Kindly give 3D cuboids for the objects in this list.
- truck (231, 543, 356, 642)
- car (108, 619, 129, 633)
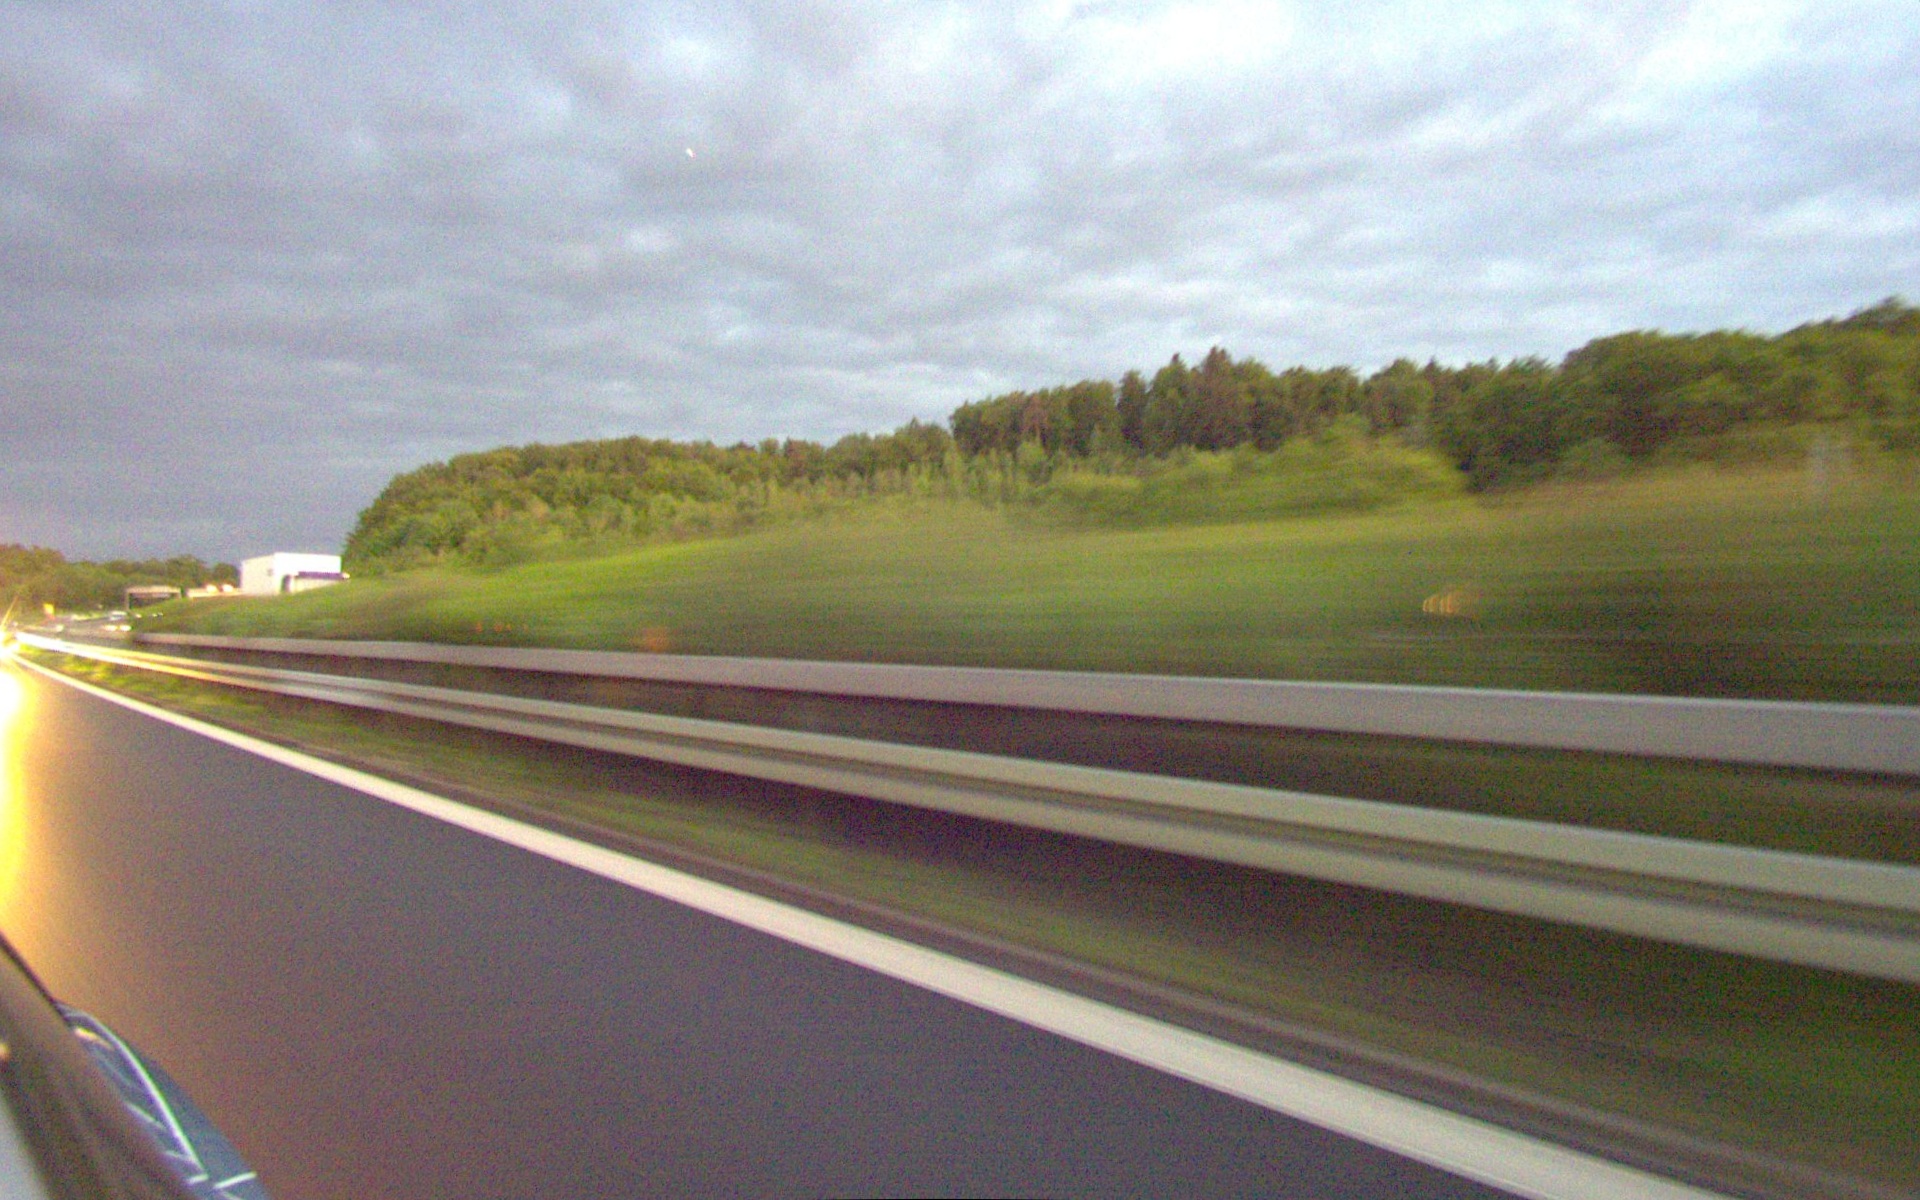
[{"bbox_3d":[-32.167,-0.302,48.627,9.895,4.334,3.004,-1,0,44],"label":"truck"},{"bbox_3d":[-106.469,3.246,128.041,1.807,1.696,4.232,0,-1,-44],"label":"car"}]
